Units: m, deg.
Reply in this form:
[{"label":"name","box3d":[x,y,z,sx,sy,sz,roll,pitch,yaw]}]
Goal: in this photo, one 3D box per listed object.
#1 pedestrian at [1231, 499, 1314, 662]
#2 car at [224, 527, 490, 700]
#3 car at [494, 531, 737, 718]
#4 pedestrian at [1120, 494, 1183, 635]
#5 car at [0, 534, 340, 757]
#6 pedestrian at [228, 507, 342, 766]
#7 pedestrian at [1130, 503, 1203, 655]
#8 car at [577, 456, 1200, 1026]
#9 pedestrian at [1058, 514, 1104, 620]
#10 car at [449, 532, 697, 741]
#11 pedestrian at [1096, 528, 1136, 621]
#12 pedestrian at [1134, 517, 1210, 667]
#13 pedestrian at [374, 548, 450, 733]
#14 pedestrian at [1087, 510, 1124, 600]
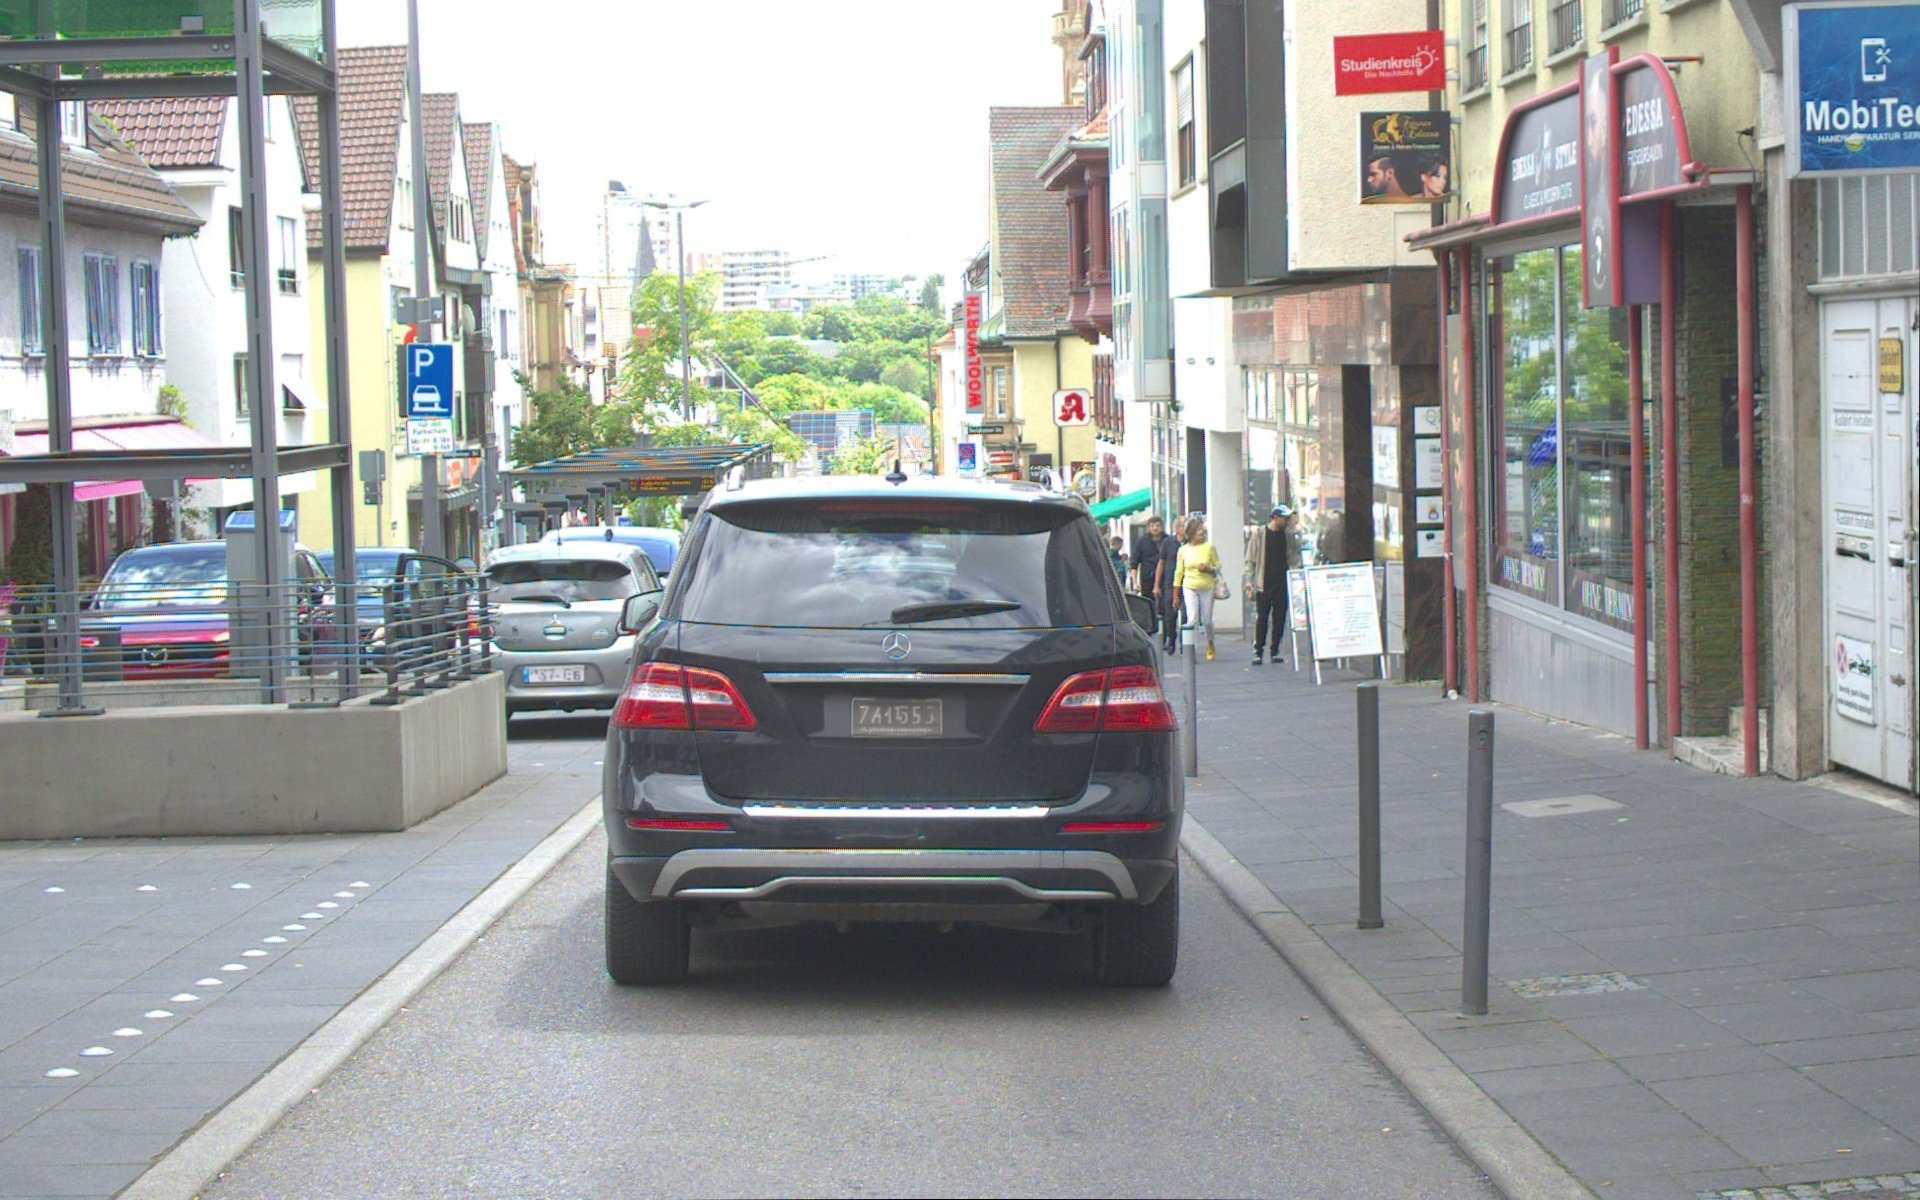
[{"label":"pedestrian","box3d":[3.334,-0.211,36.704,0.662,1.683,0.543,-5,1,-7]},{"label":"car","box3d":[-5.636,0.081,32.546,1.739,1.470,3.884,1,2,1]},{"label":"car","box3d":[-3.183,0.185,32.526,1.956,1.634,4.315,1,1,-1]},{"label":"pedestrian","box3d":[2.399,-0.449,43.075,0.711,1.747,0.787,-1,1,-1]},{"label":"car","box3d":[-5.898,0.284,26.025,1.739,1.537,4.193,1,1,-1]},{"label":"pedestrian","box3d":[-4.420,0.223,22.562,0.533,1.666,0.901,0,1,1]},{"label":"pedestrian","box3d":[2.433,-0.252,40.576,0.711,1.747,0.785,-3,1,-1]},{"label":"car","box3d":[-0.319,0.411,12.597,1.900,1.741,4.001,1,1,-3]},{"label":"pedestrian","box3d":[1.940,-0.532,55.111,0.621,1.683,0.566,1,1,-7]},{"label":"car","box3d":[-2.992,0.245,27.197,1.620,1.527,3.671,1,1,-1]},{"label":"pedestrian","box3d":[2.890,-0.478,63.728,0.573,1.683,0.566,-2,1,-7]},{"label":"pedestrian","box3d":[2.366,-0.095,38.470,0.711,1.625,0.835,-3,1,-1]},{"label":"pedestrian","box3d":[-4.340,0.313,27.244,0.466,1.427,0.492,-3,1,-1]},{"label":"pedestrian","box3d":[2.725,-0.845,64.461,0.573,1.683,0.566,1,1,-7]}]
